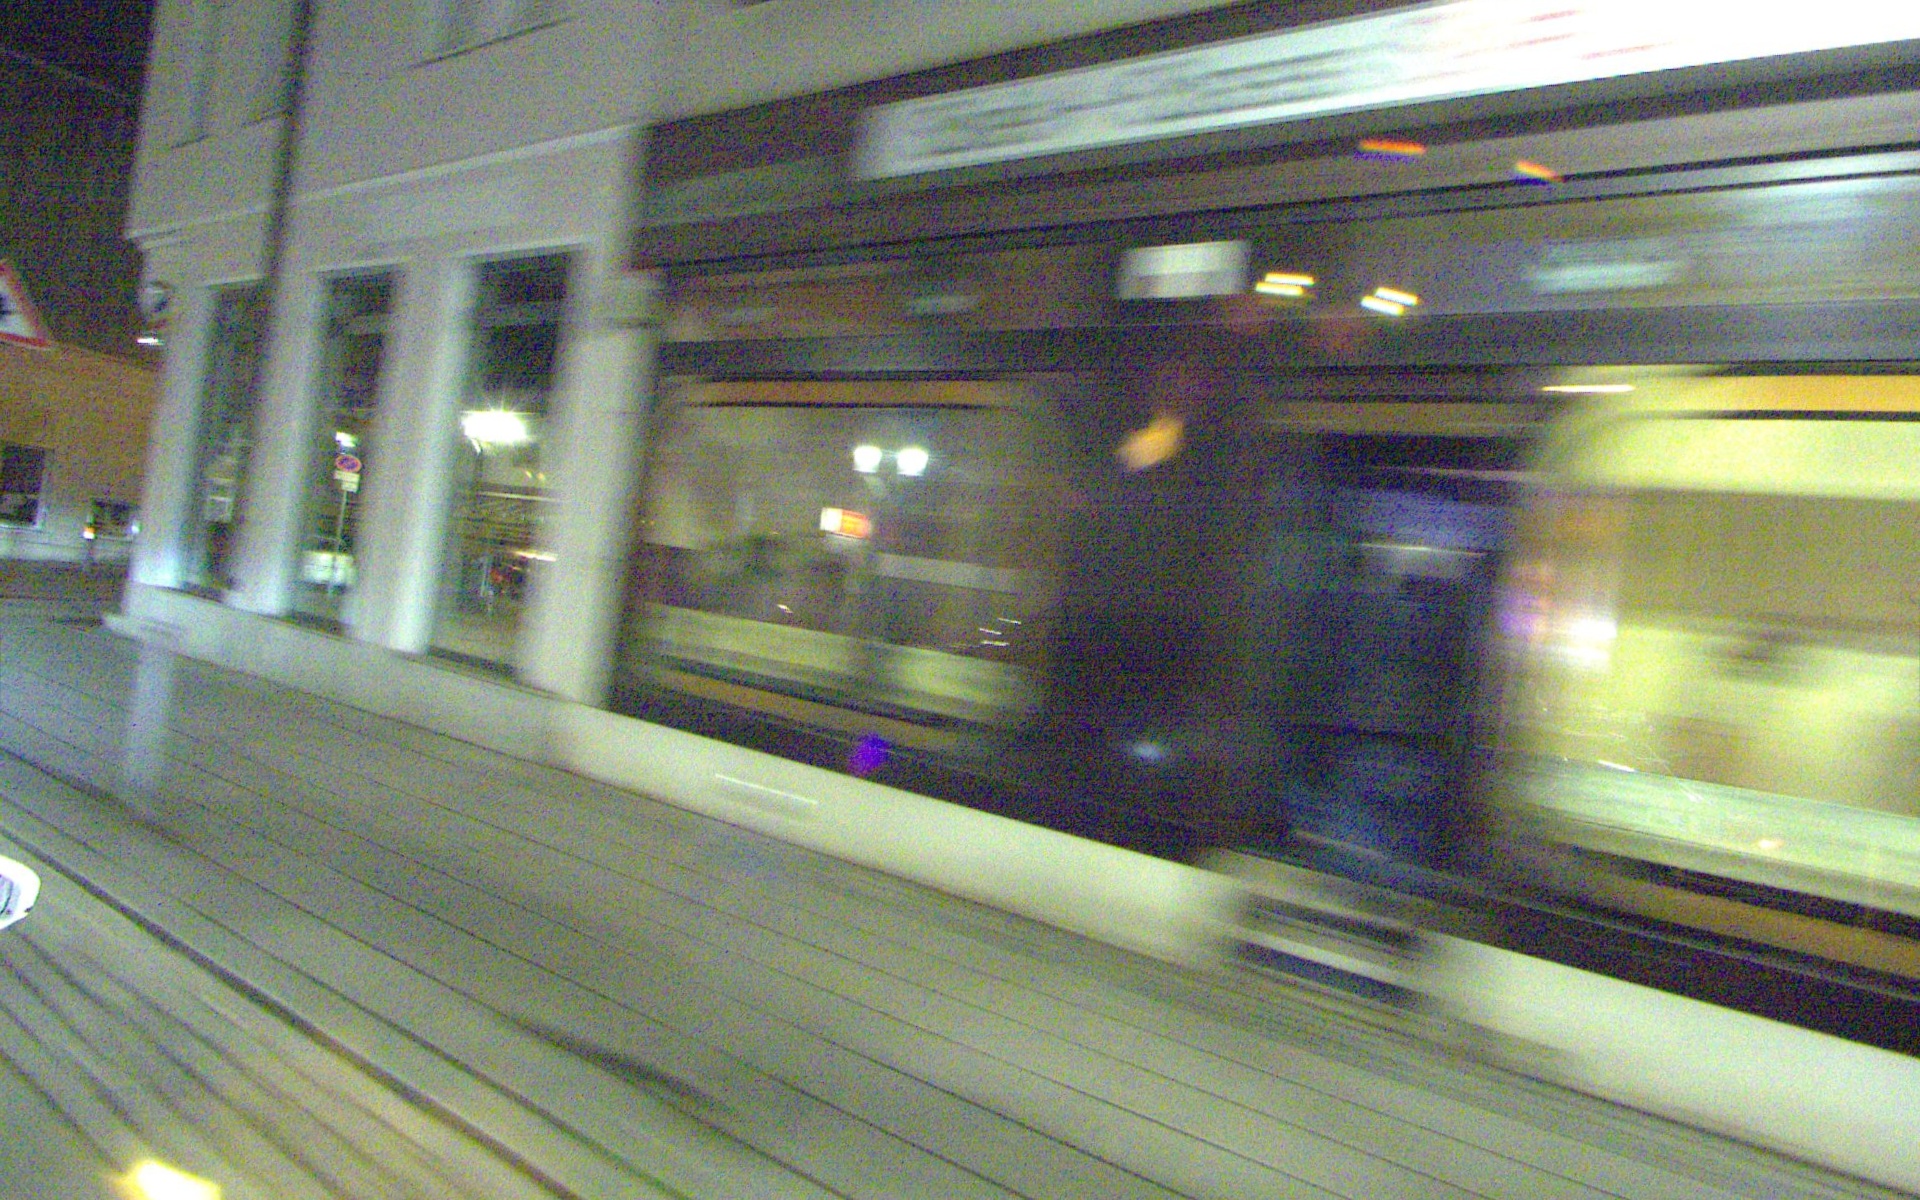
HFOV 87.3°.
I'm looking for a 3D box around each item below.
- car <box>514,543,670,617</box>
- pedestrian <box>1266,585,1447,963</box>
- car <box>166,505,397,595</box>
[{"bbox_3d":[-10.302,-0.520,28.448,1.634,1.607,3.857,7,0,31],"label":"car"},{"bbox_3d":[1.809,0.756,4.575,0.473,1.565,0.501,7,-1,37],"label":"pedestrian"},{"bbox_3d":[-14.235,-1.009,21.279,1.697,1.460,3.616,7,1,31],"label":"car"}]
